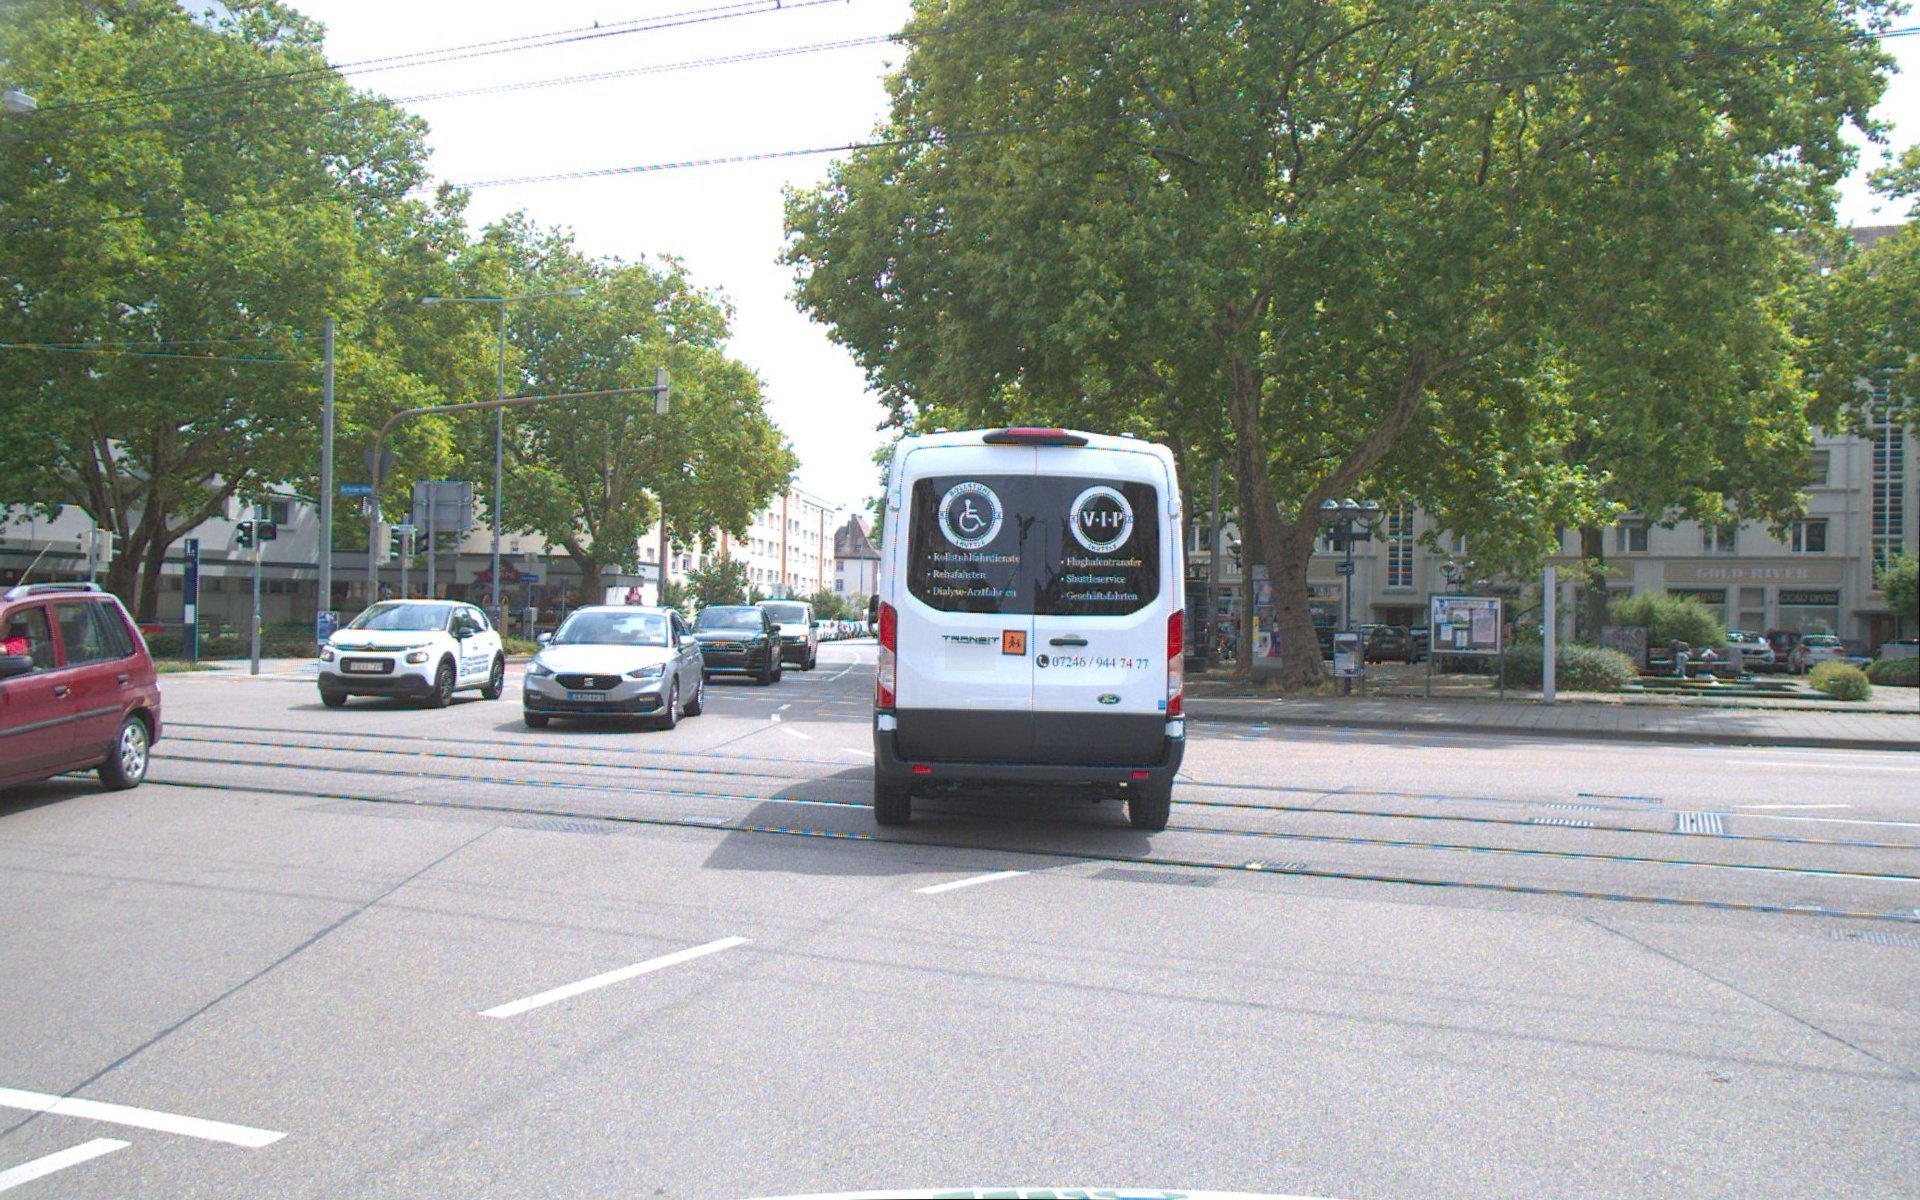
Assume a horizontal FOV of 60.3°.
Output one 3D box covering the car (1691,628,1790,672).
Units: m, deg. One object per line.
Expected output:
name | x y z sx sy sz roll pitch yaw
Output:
car | 29.429 1.861 62.495 1.952 1.529 4.001 1 0 2

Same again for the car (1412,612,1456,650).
car | 21.975 1.408 76.654 1.767 1.713 4.001 0 0 19

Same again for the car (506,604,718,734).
car | -4.222 0.790 20.699 1.795 1.452 4.120 1 0 -1

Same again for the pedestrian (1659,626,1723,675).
pedestrian | 19.520 1.338 44.195 1.068 1.258 1.441 -1 -1 2

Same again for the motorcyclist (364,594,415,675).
motorcyclist | -10.197 0.611 29.567 0.669 1.420 0.681 1 0 -3

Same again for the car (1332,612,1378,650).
car | 18.679 1.446 78.094 1.767 1.713 4.001 0 0 19

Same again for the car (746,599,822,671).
car | -5.080 0.976 48.169 1.707 1.964 4.853 1 0 -1

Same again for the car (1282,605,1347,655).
car | 14.571 1.224 68.123 1.952 1.964 4.001 1 0 2

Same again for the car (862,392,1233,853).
car | 0.388 0.103 12.056 2.139 2.694 4.624 0 0 -4

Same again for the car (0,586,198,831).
car | -6.790 0.673 11.147 1.559 1.534 3.806 1 0 -1

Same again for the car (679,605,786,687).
car | -4.802 0.938 35.366 1.707 1.615 4.328 1 0 -1

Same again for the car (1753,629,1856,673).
car | 31.651 1.883 62.104 1.952 1.545 4.001 1 0 2

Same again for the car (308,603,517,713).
car | -7.856 0.792 24.117 1.707 1.452 4.031 1 0 -1

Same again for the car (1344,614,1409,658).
car | 17.033 1.444 67.756 1.767 1.713 4.001 1 0 2
